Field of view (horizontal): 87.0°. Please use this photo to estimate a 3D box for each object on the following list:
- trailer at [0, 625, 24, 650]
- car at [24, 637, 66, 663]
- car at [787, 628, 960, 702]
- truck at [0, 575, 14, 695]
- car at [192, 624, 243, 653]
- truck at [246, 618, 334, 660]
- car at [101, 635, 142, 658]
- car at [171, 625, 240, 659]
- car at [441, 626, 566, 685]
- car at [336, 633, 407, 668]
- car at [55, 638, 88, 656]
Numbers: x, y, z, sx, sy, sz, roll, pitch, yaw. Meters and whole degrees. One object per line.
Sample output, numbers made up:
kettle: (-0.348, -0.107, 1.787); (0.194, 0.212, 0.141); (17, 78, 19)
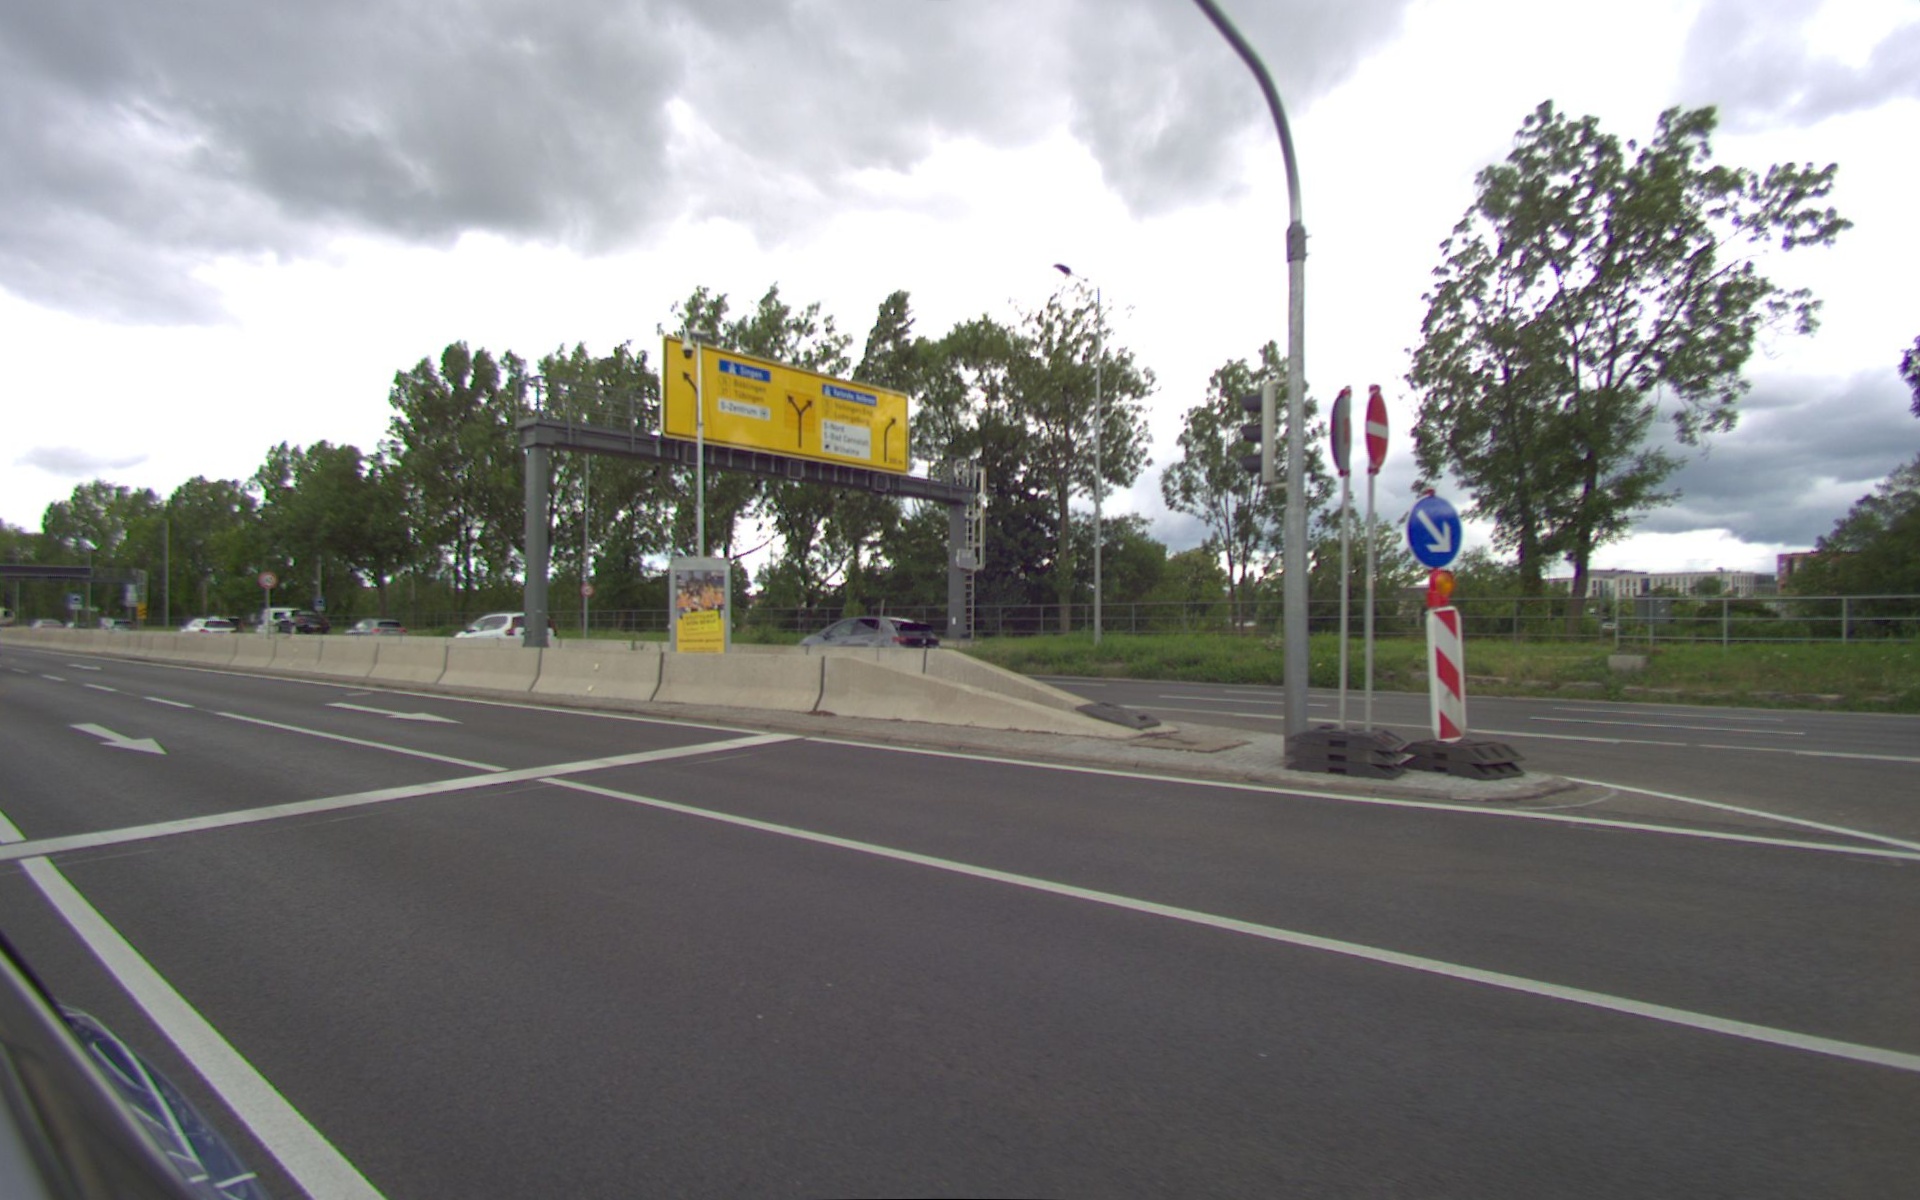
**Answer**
trailer: (-131.255, 5.225, 138.290); (11.653, 3.244, 3.071); (-3, 0, 39)
car: (-75.835, 4.146, 83.860); (4.678, 2.029, 1.973); (-3, 0, 41)
car: (-2.291, 1.639, 26.091); (4.285, 1.669, 1.973); (-3, 0, 41)
truck: (-28.767, 1.067, 27.887); (8.380, 3.106, 2.906); (-3, 0, 40)
car: (-55.054, 2.854, 75.033); (4.934, 2.029, 1.973); (-3, 0, 41)
truck: (-36.075, 2.116, 54.404); (6.296, 2.029, 2.182); (-3, 0, 40)
car: (-67.301, 3.736, 81.188); (4.123, 1.695, 1.859); (-3, 0, 41)
car: (-40.592, 2.274, 54.431); (4.692, 1.681, 1.973); (-3, 0, 41)
car: (-14.862, 1.777, 32.861); (4.409, 1.697, 1.973); (-3, 0, 41)
car: (-32.136, 2.741, 55.199); (4.409, 1.697, 1.973); (-3, 0, 41)
car: (-94.134, 5.024, 107.165); (4.466, 1.752, 1.973); (-3, 0, 40)
